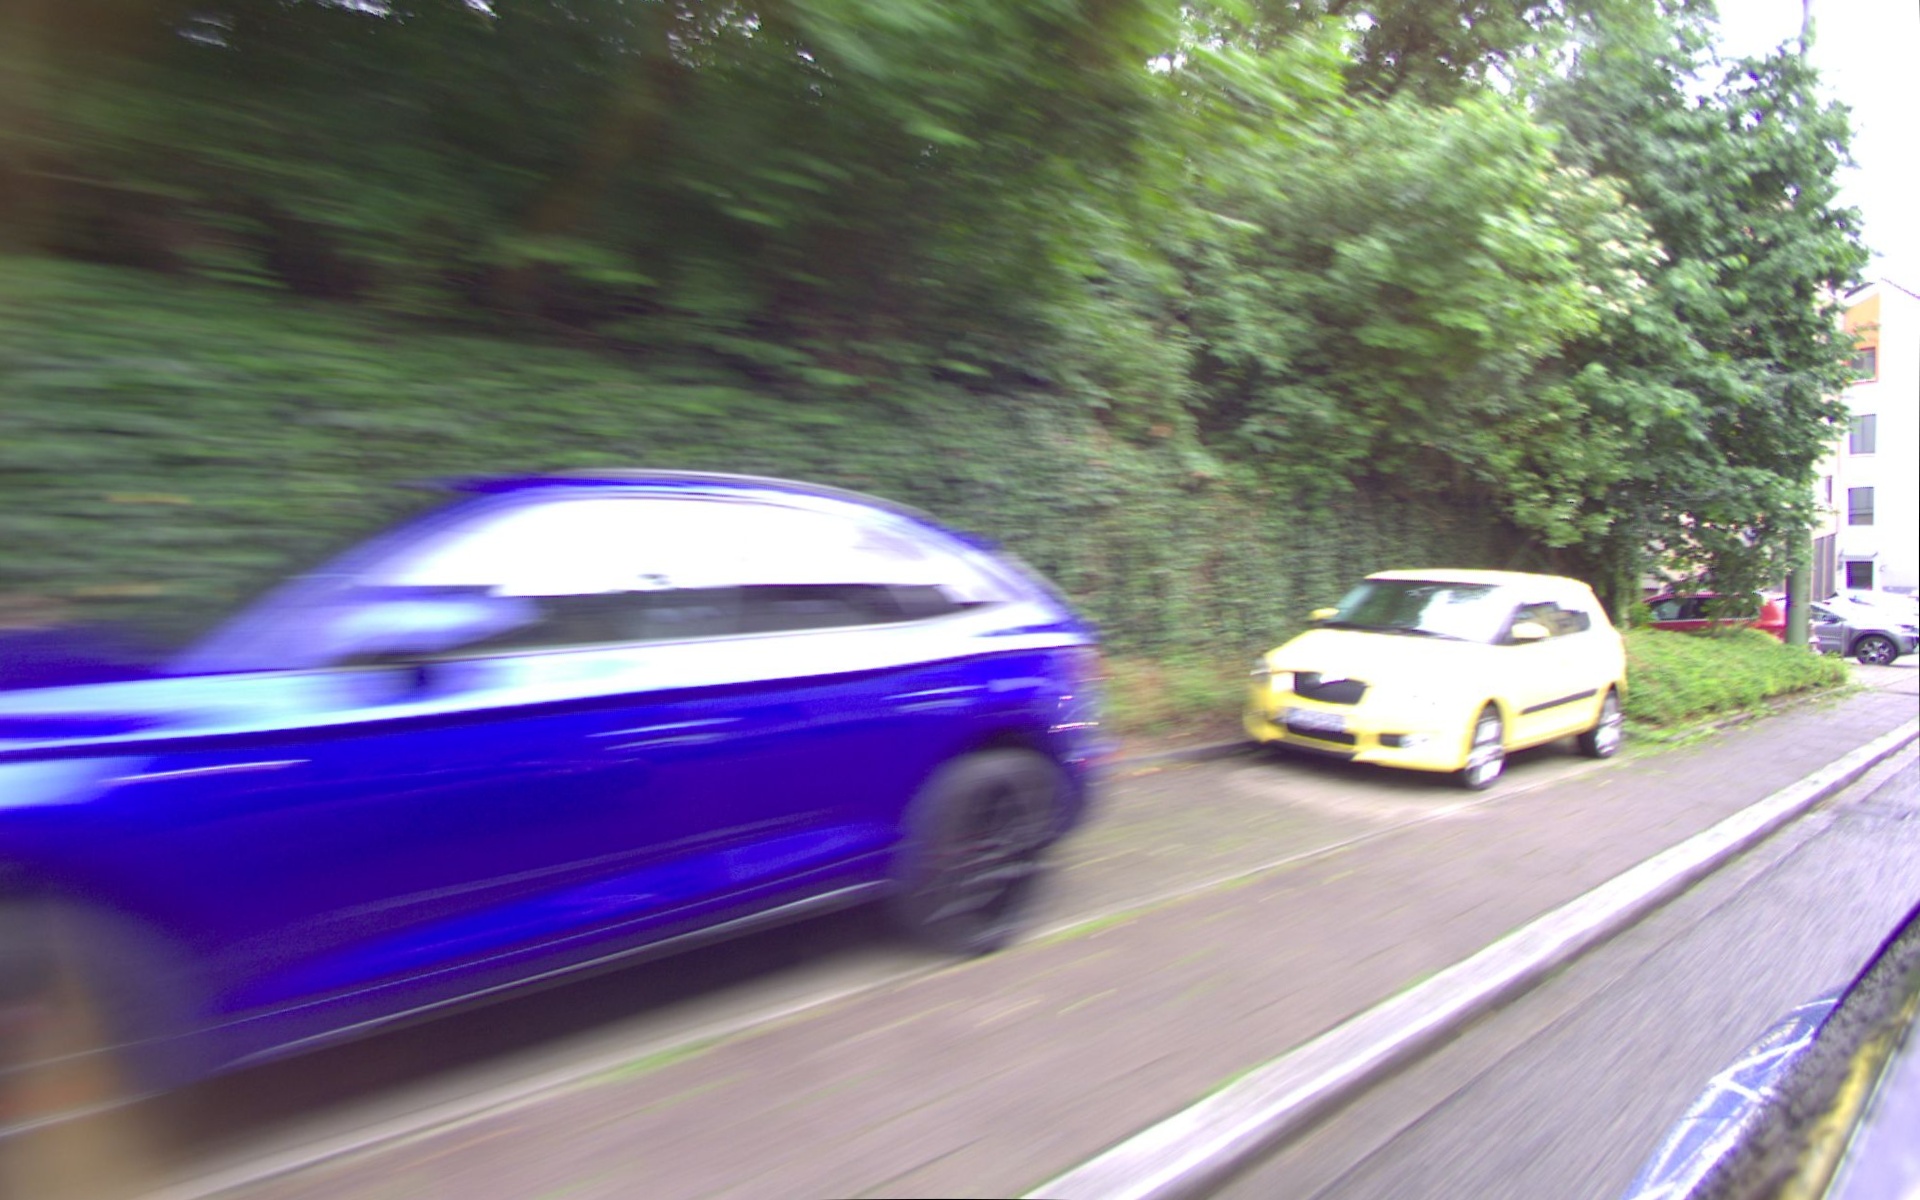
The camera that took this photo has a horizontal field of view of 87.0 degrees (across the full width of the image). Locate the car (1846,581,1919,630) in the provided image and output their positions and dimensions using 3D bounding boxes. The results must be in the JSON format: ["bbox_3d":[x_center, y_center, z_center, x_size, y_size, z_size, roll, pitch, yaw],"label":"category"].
[{"bbox_3d":[34.839,0.276,36.384,1.772,1.592,4.194,0,5,-40],"label":"car"}]

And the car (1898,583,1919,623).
[{"bbox_3d":[41.471,0.275,41.449,1.772,1.592,4.194,0,5,-40],"label":"car"}]

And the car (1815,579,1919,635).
[{"bbox_3d":[31.140,0.274,33.348,1.772,1.592,4.194,0,5,-40],"label":"car"}]

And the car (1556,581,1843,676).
[{"bbox_3d":[14.161,0.460,19.579,1.772,1.614,4.191,0,1,-40],"label":"car"}]

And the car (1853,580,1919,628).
[{"bbox_3d":[36.568,0.224,38.063,1.772,1.664,4.194,-1,6,-40],"label":"car"}]

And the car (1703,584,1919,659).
[{"bbox_3d":[20.395,0.443,23.951,1.772,1.433,4.193,0,4,-40],"label":"car"}]

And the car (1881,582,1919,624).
[{"bbox_3d":[39.621,0.242,40.233,1.772,1.592,4.194,0,5,-40],"label":"car"}]

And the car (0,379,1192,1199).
[{"bbox_3d":[-1.333,0.372,3.374,4.599,1.643,1.768,-1,3,-42],"label":"car"}]

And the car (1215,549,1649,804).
[{"bbox_3d":[3.831,0.427,7.934,3.829,1.484,1.568,0,4,-40],"label":"car"}]
